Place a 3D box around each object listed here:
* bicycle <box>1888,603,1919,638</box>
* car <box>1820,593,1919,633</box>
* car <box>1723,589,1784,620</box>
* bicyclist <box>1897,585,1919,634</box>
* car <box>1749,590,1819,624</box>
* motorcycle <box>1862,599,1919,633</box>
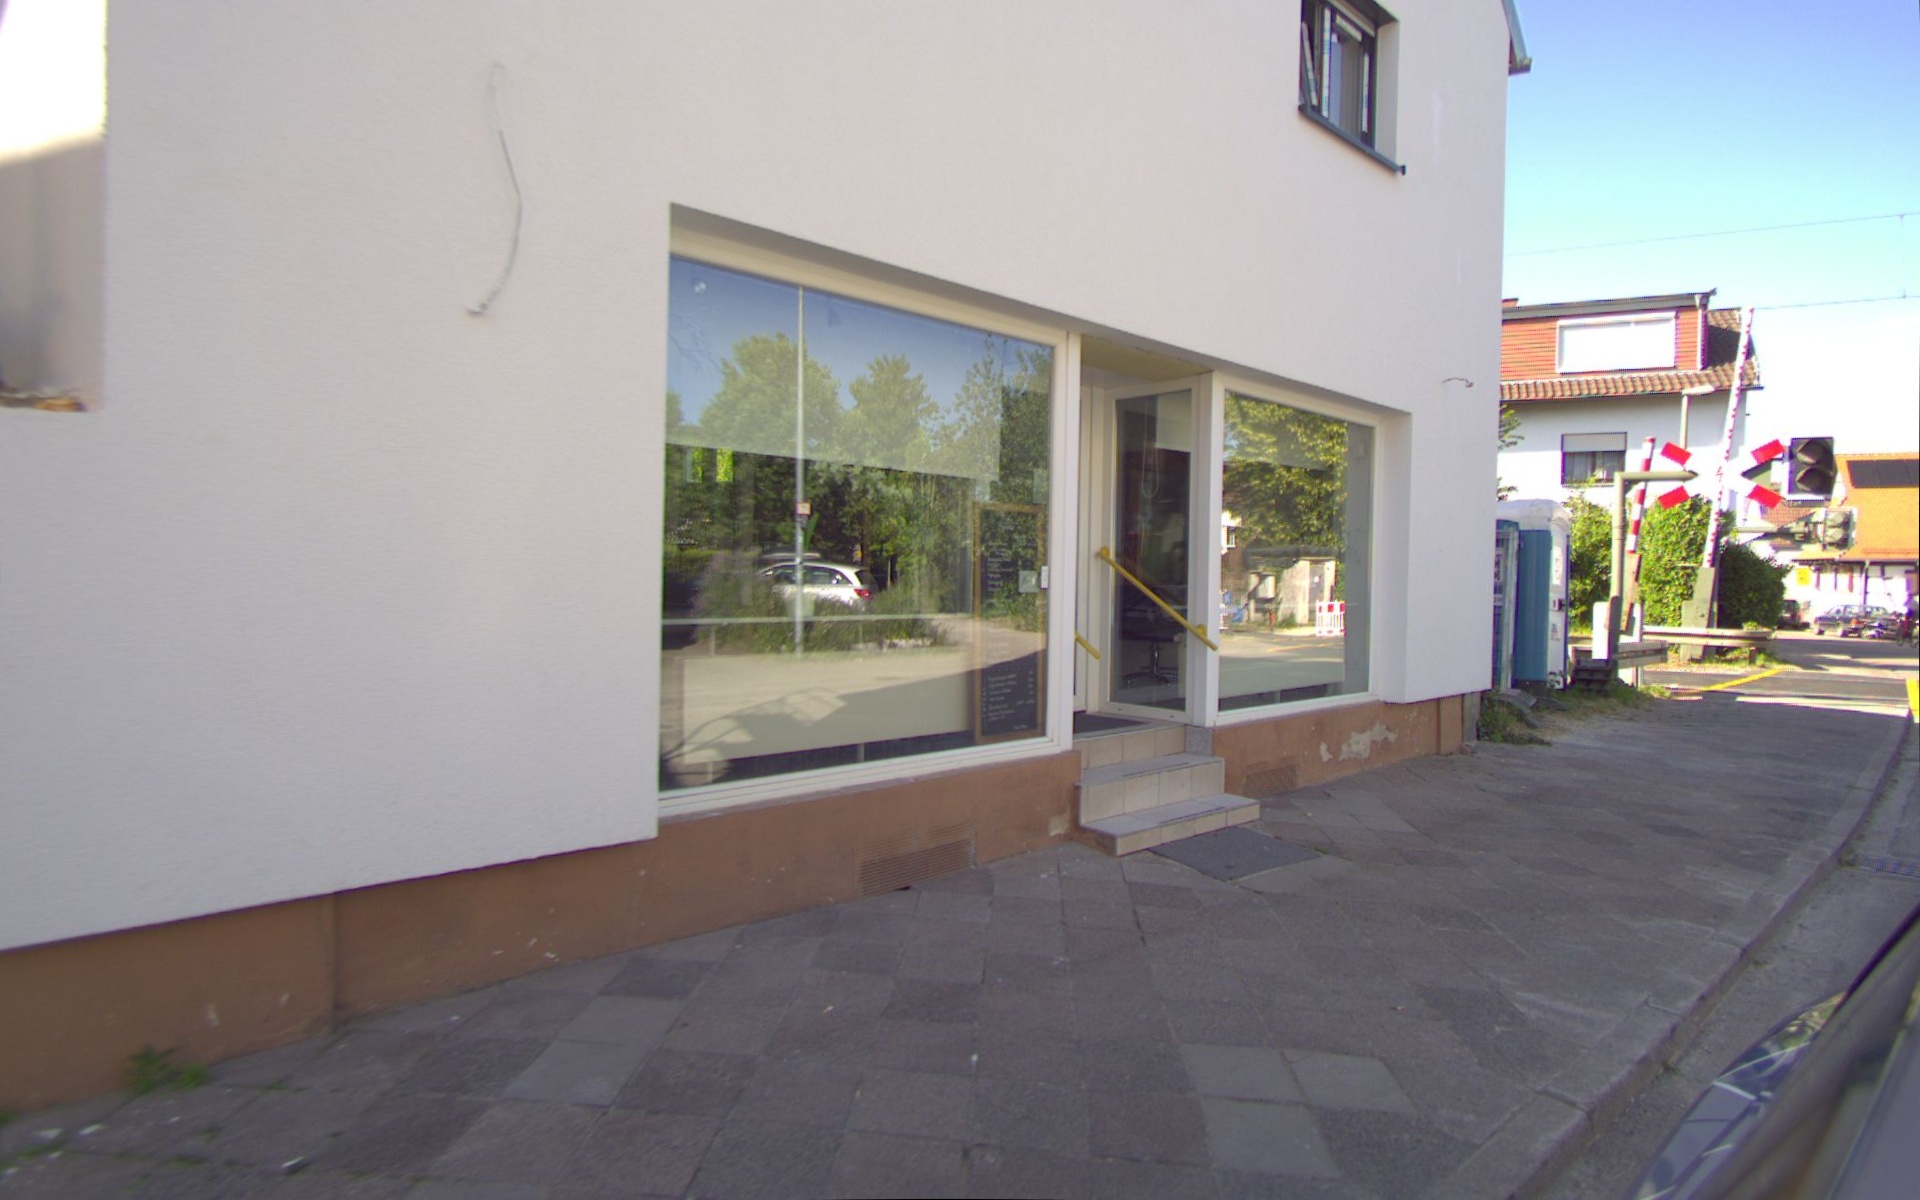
[{"bbox_3d":[31.564,0.664,33.296,0.877,1.018,2.045,-3,0,25],"label":"bicycle"},{"bbox_3d":[37.873,0.499,42.163,1.832,1.423,4.993,3,2,25],"label":"car"},{"bbox_3d":[45.028,0.220,57.502,1.804,1.586,4.132,2,2,25],"label":"car"},{"bbox_3d":[31.534,0.288,33.236,0.842,1.561,0.865,-3,-1,27],"label":"bicyclist"},{"bbox_3d":[42.629,0.333,52.472,1.771,1.624,4.323,2,2,25],"label":"car"},{"bbox_3d":[36.272,0.615,39.145,0.613,1.247,1.999,1,1,-20],"label":"motorcycle"}]
